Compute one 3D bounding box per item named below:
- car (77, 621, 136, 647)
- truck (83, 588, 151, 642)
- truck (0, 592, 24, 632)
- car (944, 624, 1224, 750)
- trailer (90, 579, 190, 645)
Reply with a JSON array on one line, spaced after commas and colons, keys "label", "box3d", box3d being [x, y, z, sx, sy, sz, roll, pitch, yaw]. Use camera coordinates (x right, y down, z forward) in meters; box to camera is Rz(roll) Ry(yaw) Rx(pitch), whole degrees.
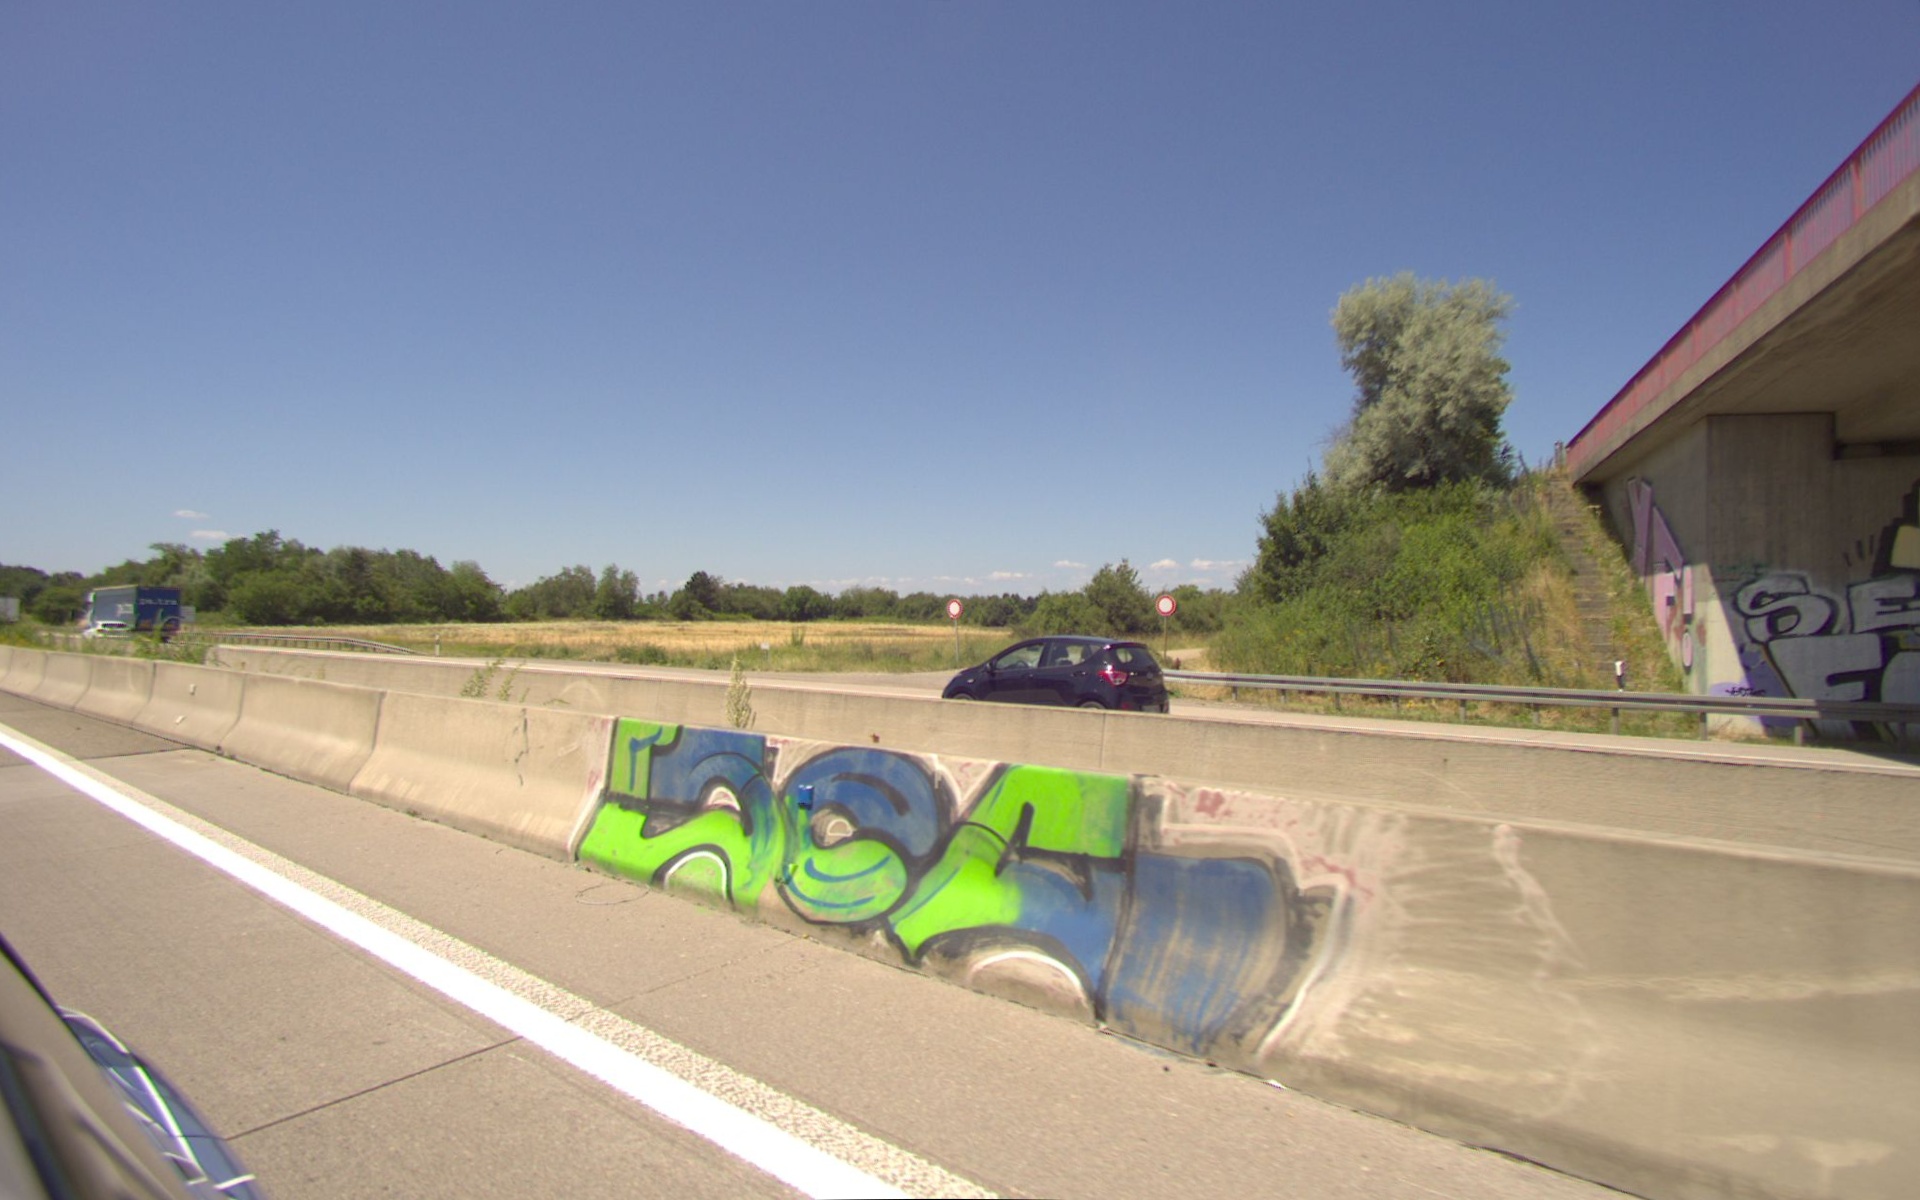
[{"label": "car", "box3d": [-49.385, 1.950, 58.498, 4.666, 1.420, 1.796, -1, -2, 40]}, {"label": "truck", "box3d": [-64.904, 1.124, 77.876, 5.155, 3.924, 3.198, -1, 0, 41]}, {"label": "truck", "box3d": [-110.755, 1.377, 116.519, 10.530, 4.412, 3.217, -1, 0, 41]}, {"label": "car", "box3d": [1.791, 1.192, 15.230, 3.858, 1.631, 1.748, -1, -2, 40]}, {"label": "trailer", "box3d": [-59.358, 0.860, 73.073, 13.493, 4.412, 3.232, -1, 0, 41]}]
